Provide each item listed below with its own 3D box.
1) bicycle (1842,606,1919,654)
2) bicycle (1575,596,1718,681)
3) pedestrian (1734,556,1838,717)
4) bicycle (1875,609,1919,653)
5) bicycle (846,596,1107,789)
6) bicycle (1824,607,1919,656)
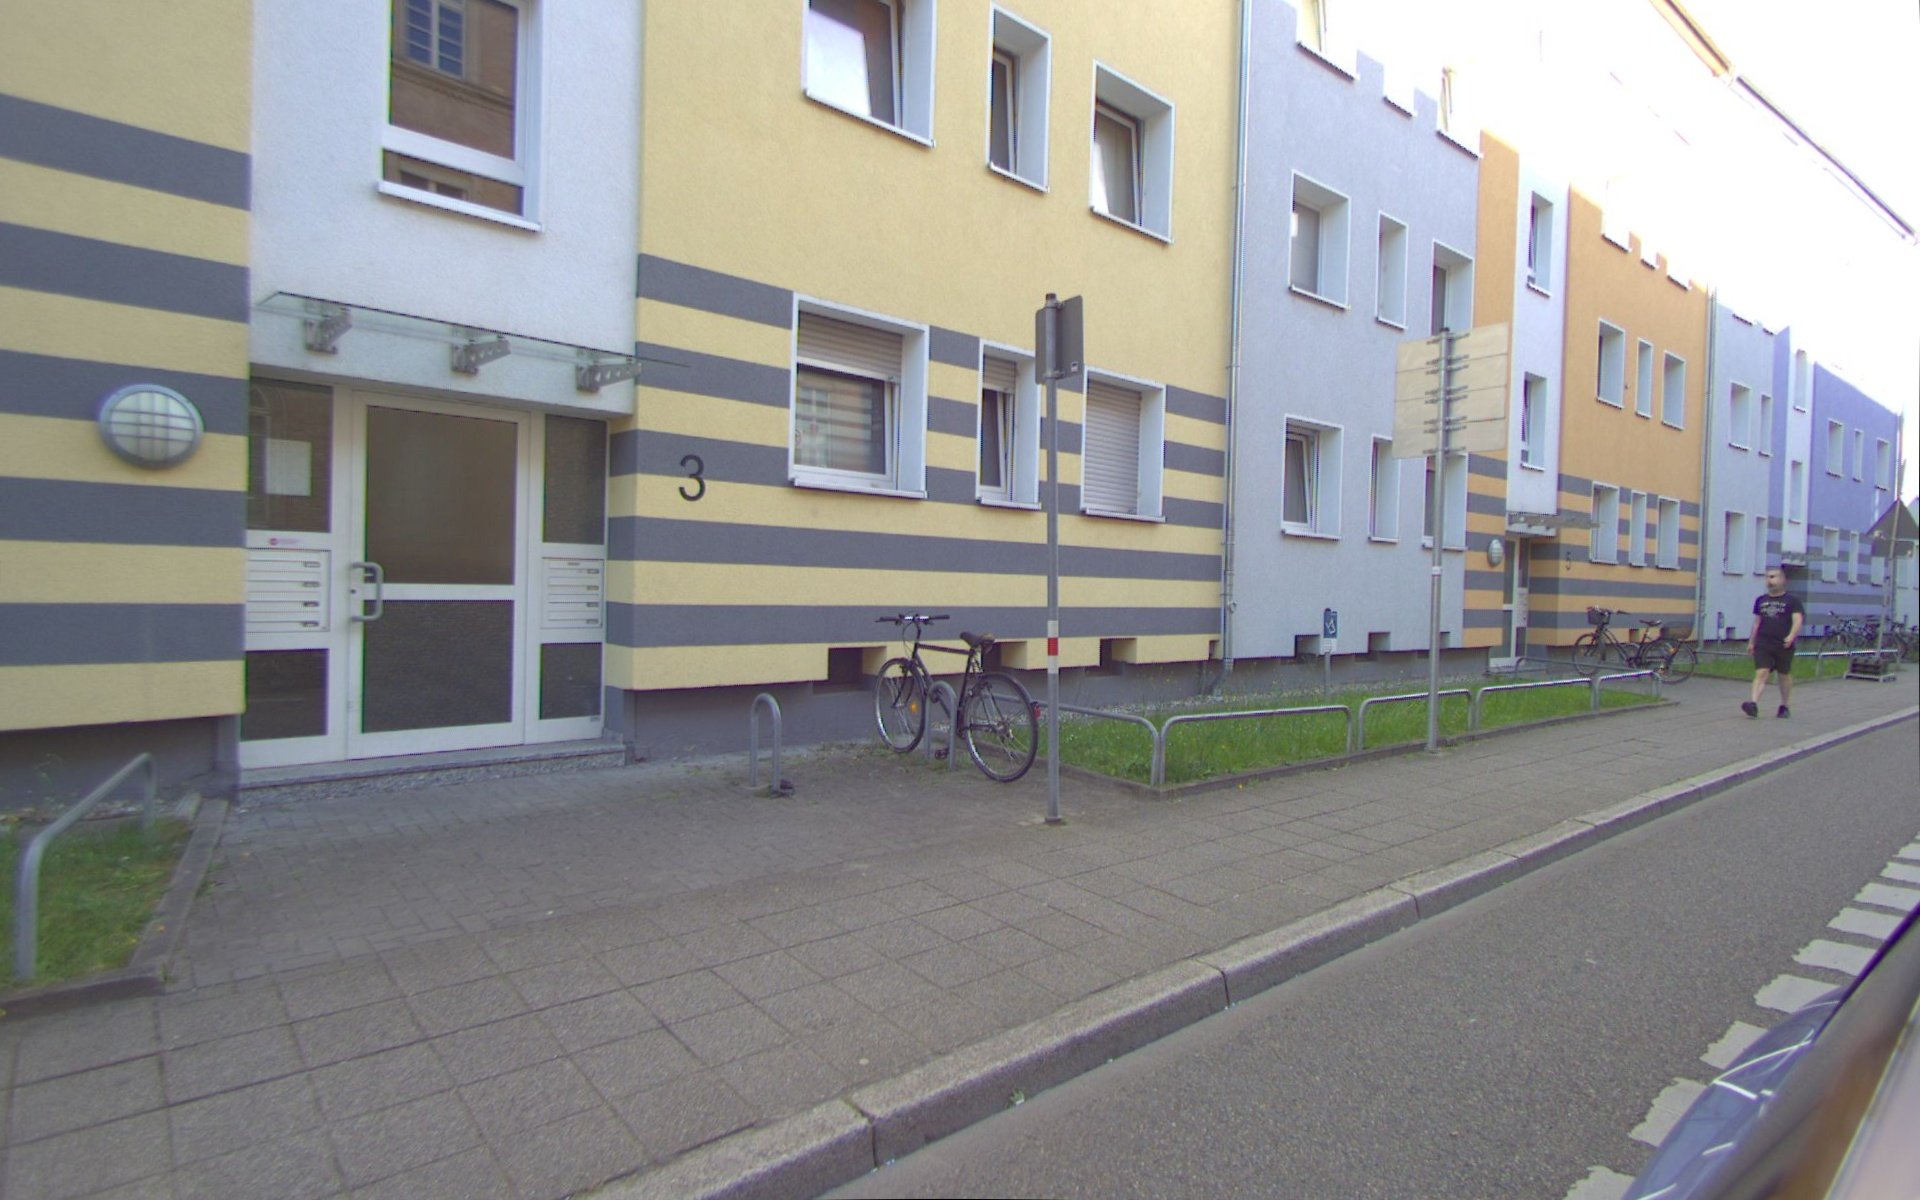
[{"bbox_3d":[23.250,0.741,25.278,0.625,1.095,1.710,1,2,-40],"label":"bicycle"},{"bbox_3d":[10.742,0.570,15.877,0.625,1.173,1.709,1,3,-42],"label":"bicycle"},{"bbox_3d":[9.871,0.414,12.095,0.898,1.810,0.646,1,4,-38],"label":"pedestrian"},{"bbox_3d":[24.146,0.801,25.378,0.625,1.048,1.709,1,3,-42],"label":"bicycle"},{"bbox_3d":[0.048,0.559,7.057,0.625,1.074,1.946,1,3,-42],"label":"bicycle"},{"bbox_3d":[22.282,0.742,24.682,0.624,1.058,1.711,1,2,-39],"label":"bicycle"}]
